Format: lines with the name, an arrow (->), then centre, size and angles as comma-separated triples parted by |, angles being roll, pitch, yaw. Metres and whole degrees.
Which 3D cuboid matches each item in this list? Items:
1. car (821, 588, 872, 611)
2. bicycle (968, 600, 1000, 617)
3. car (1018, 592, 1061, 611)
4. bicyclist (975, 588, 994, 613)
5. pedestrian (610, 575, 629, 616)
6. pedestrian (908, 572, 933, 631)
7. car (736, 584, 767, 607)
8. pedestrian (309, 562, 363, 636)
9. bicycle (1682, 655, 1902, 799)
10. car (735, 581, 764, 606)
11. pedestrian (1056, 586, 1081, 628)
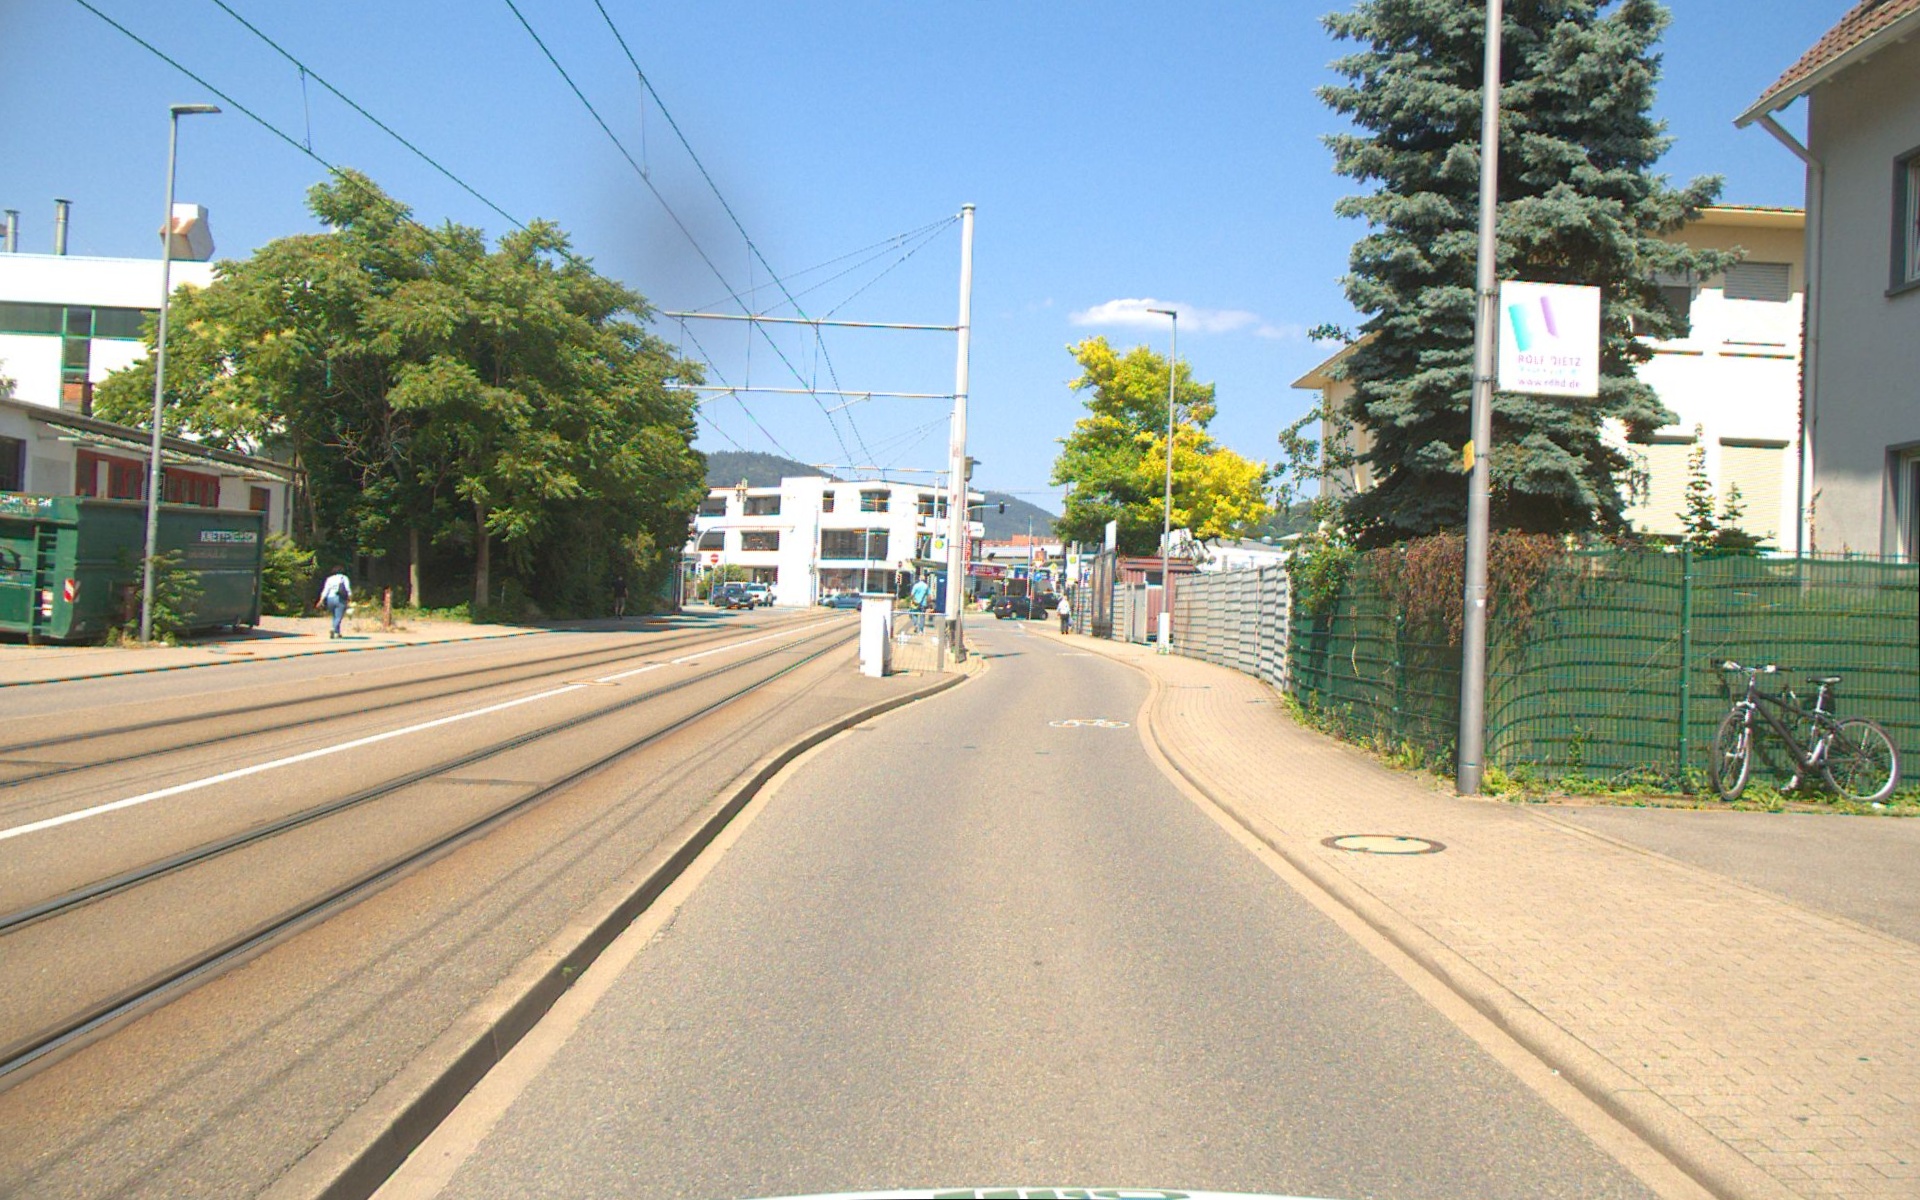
car -> -9.224, -0.052, 134.224 | 3.826, 1.709, 1.726 | 2, 0, -13
bicycle -> 1.953, 0.698, 136.755 | 2.401, 1.207, 1.114 | 4, 3, -10
car -> 7.532, 0.154, 156.800 | 1.834, 1.691, 3.972 | 2, 0, 44
bicyclist -> 2.027, 0.030, 136.733 | 1.269, 1.937, 1.088 | 3, 3, -10
pedestrian -> -13.291, -0.184, 64.612 | 0.572, 1.564, 0.657 | 1, 0, -1
pedestrian -> -1.203, 0.051, 50.947 | 0.728, 1.771, 0.727 | 1, 0, -1
car -> -15.509, -0.330, 123.334 | 1.720, 1.676, 3.762 | 1, 0, 1
pedestrian -> -13.421, -0.019, 35.606 | 0.817, 1.564, 0.838 | 1, 0, -1
bicycle -> 6.150, 0.935, 12.252 | 1.441, 1.008, 0.388 | 2, -3, -2
car -> -13.865, -0.403, 108.848 | 1.753, 1.579, 3.992 | 1, 0, -8
pedestrian -> 4.779, 0.303, 72.805 | 0.921, 1.818, 0.953 | 3, 1, -2
